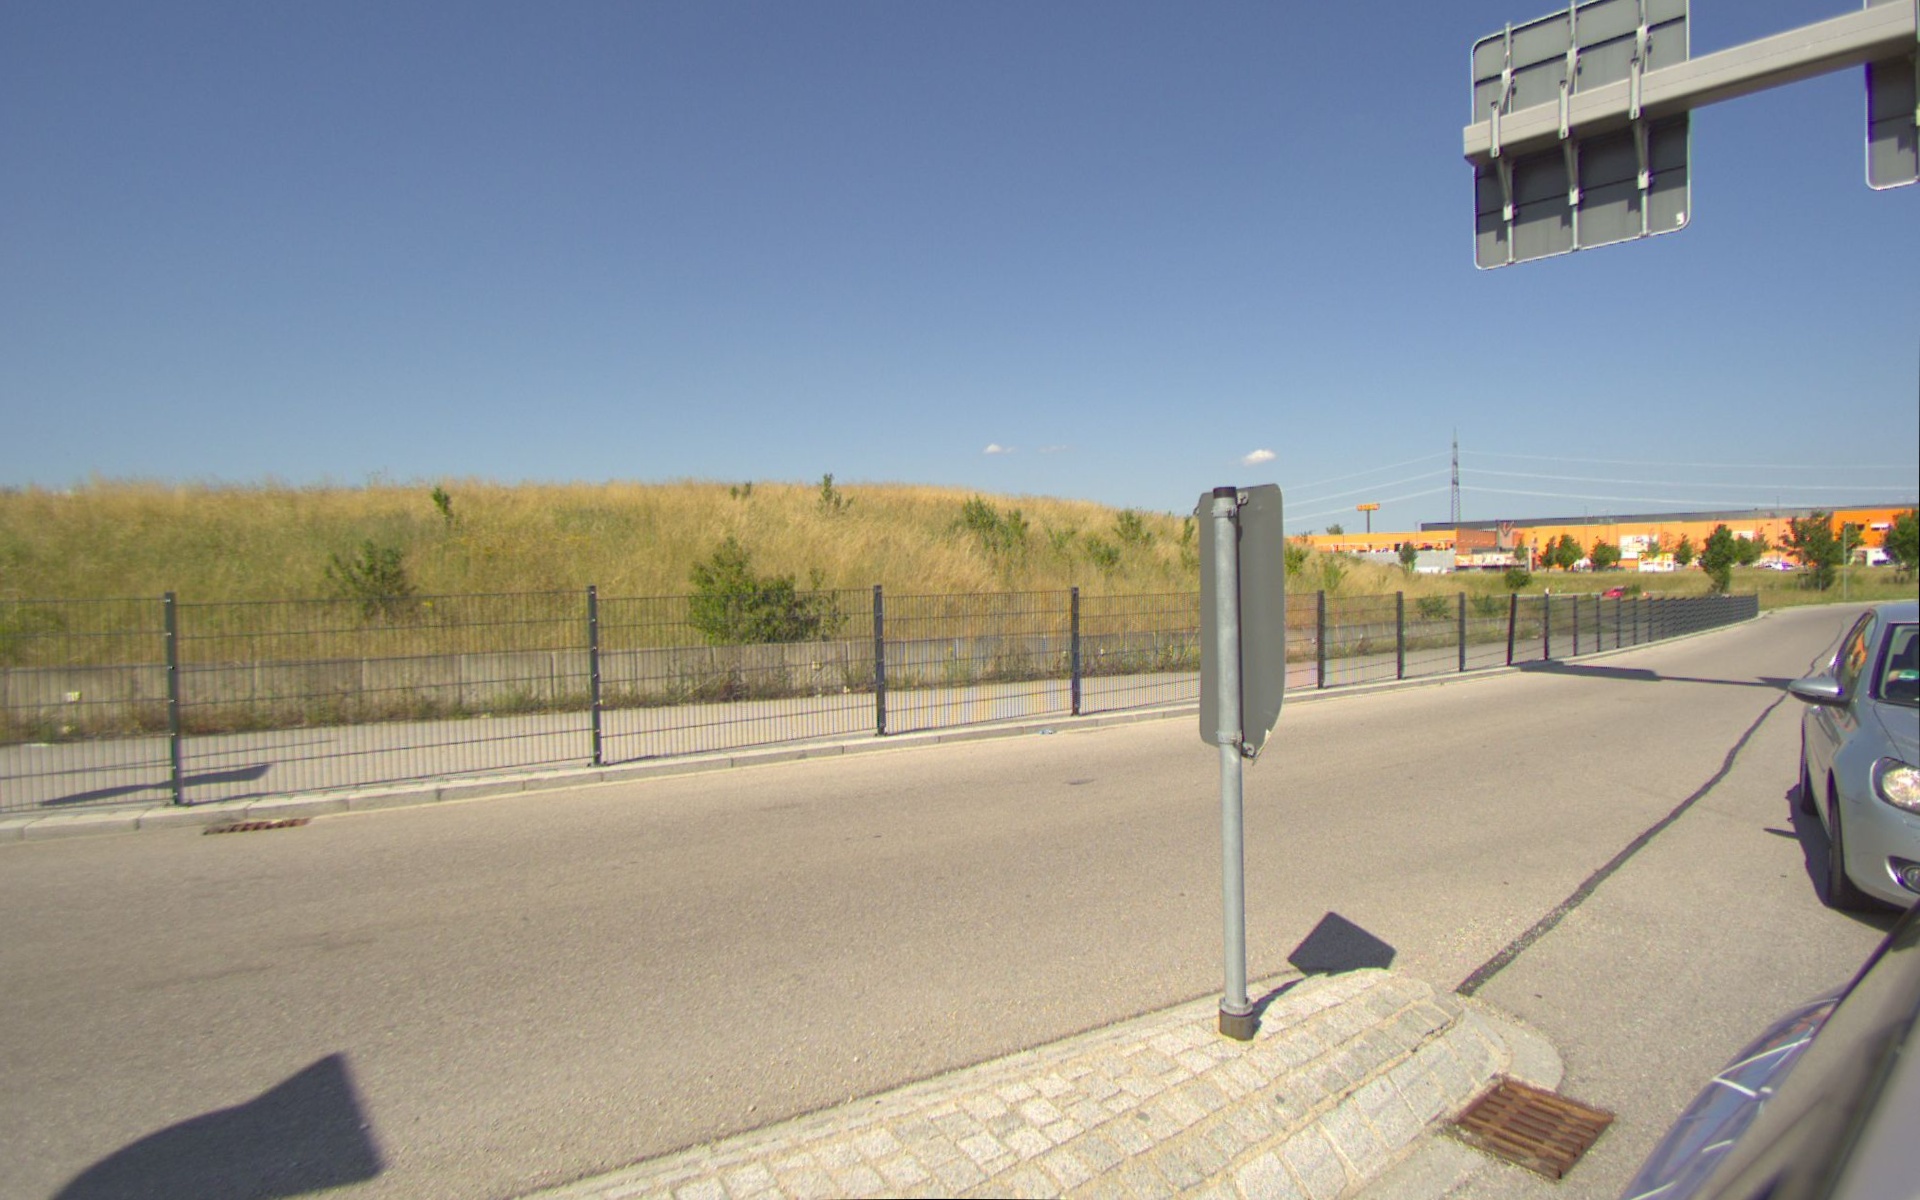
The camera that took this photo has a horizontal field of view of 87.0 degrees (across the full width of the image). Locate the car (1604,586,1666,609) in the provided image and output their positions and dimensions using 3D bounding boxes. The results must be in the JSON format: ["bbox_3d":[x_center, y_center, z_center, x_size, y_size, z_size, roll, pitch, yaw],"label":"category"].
[{"bbox_3d":[62.017,-0.206,93.039,4.610,2.039,1.974,-1,1,37],"label":"car"}]

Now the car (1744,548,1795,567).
[{"bbox_3d":[95.707,-5.020,119.707,4.611,2.039,1.973,-1,1,38],"label":"car"}]

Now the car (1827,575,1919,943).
[{"bbox_3d":[5.617,0.638,5.176,1.740,1.486,3.902,3,3,41],"label":"car"}]

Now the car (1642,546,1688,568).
[{"bbox_3d":[87.992,-5.342,126.389,4.611,2.580,1.973,-1,0,38],"label":"car"}]
